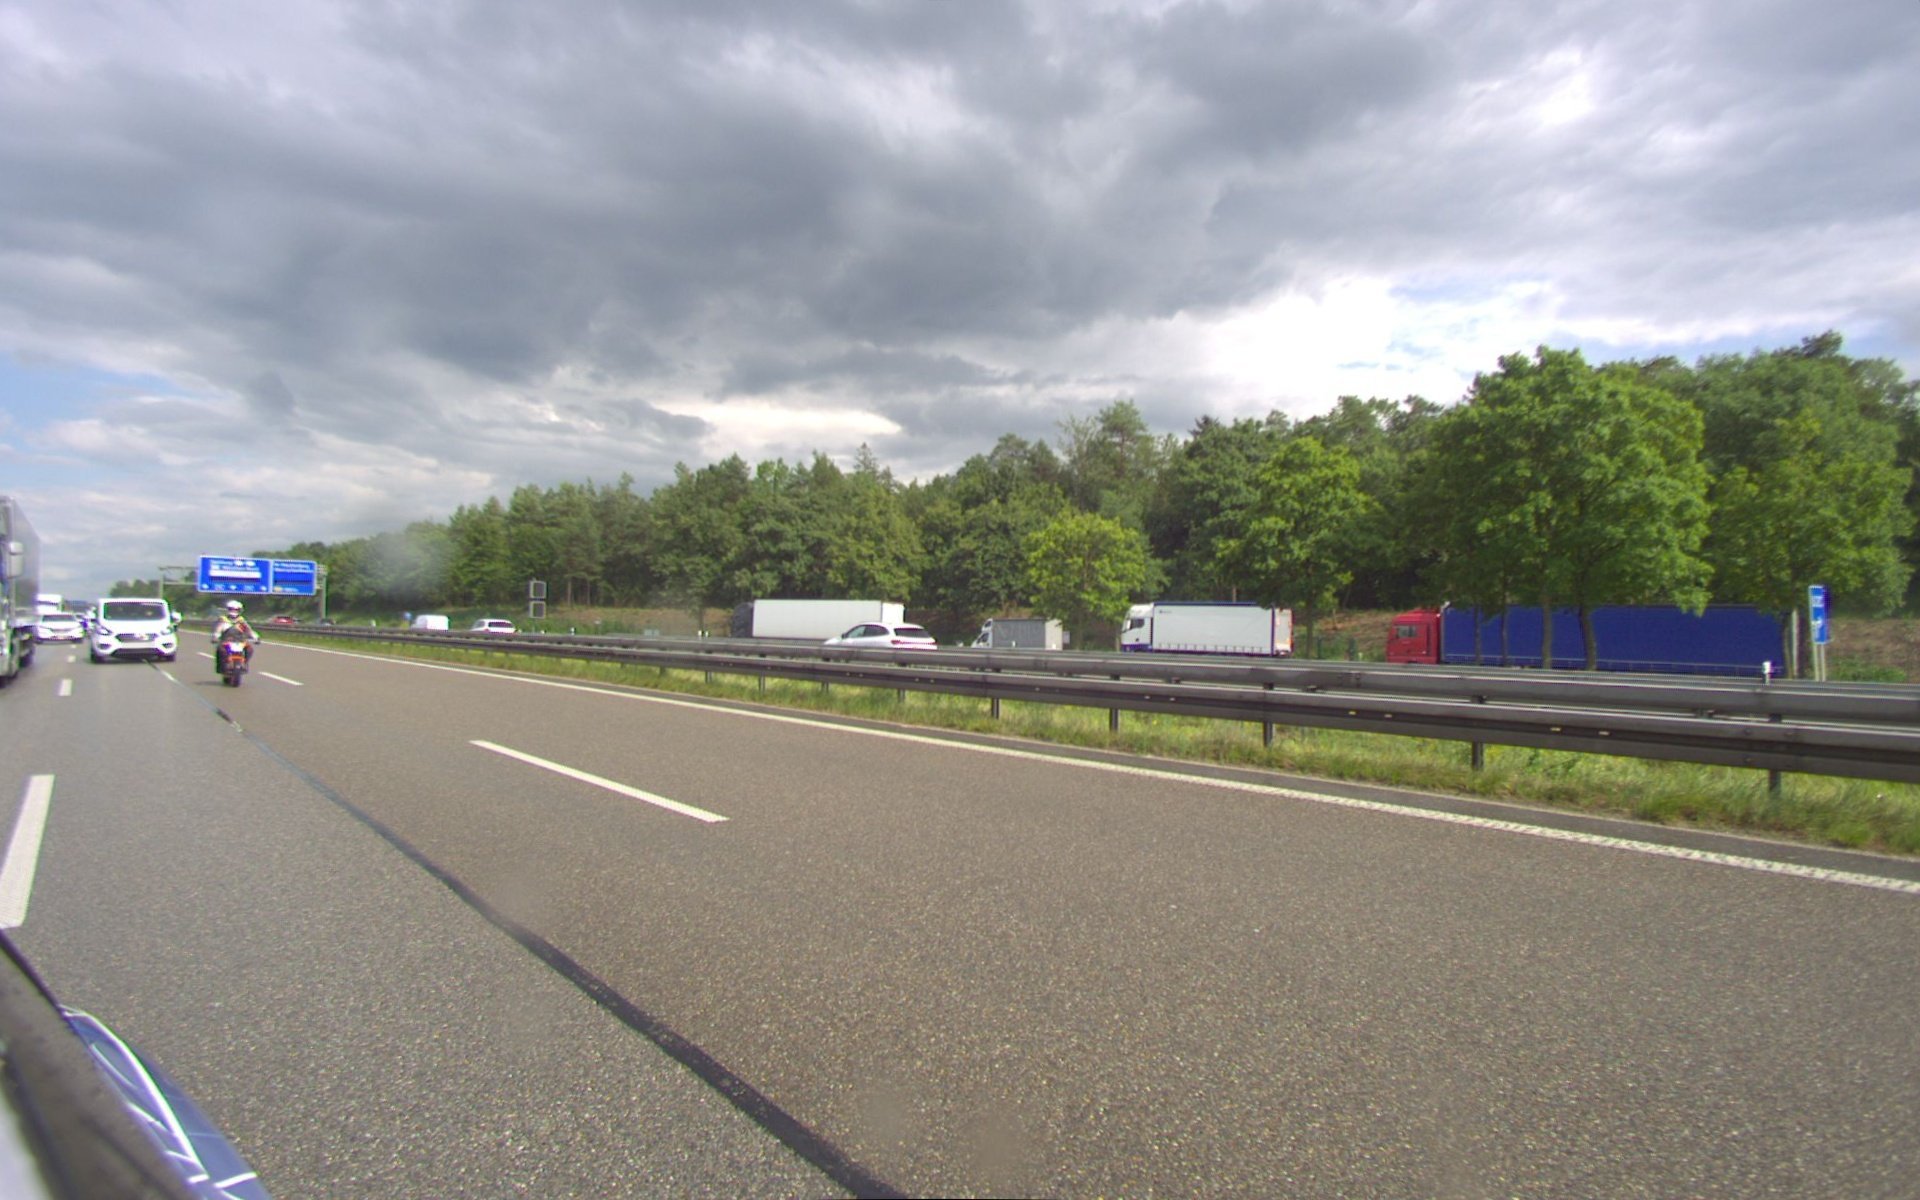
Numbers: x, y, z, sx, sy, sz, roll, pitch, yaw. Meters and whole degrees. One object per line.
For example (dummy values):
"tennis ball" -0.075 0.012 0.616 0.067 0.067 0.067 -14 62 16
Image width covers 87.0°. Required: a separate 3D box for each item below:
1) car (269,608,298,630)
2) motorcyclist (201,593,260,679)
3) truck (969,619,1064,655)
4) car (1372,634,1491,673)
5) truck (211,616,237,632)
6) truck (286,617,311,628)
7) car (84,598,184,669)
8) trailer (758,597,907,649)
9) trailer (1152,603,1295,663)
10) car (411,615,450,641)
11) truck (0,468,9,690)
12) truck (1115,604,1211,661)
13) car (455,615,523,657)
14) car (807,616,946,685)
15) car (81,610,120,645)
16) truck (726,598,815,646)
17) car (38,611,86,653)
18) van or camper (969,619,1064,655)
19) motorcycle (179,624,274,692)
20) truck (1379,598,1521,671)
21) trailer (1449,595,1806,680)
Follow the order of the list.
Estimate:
"car" -65.448 1.814 97.875 1.808 2.060 4.786 0 0 -41
"motorcyclist" -15.057 0.726 20.895 0.870 1.719 1.002 0 0 -43
"truck" 3.765 2.443 68.588 6.306 2.282 2.099 0 -1 36
"car" 27.876 3.116 59.959 6.129 2.029 1.973 0 0 41
"truck" -91.482 2.921 125.764 2.229 1.909 5.454 0 0 -41
"truck" -73.853 2.504 112.955 1.865 1.203 4.006 0 0 -41
"car" -26.274 0.979 32.124 2.315 2.060 5.151 0 0 -41
"trailer" -9.981 1.724 78.029 12.542 3.767 3.176 0 -2 36
"trailer" 15.311 1.865 59.173 7.734 3.257 2.553 0 -2 40
"car" -43.474 2.255 83.051 1.808 2.060 4.786 0 0 -41
"truck" -21.845 -0.391 21.285 2.612 4.306 6.891 0 0 -44
"truck" 12.323 1.892 61.533 5.081 3.292 2.628 0 0 39
"car" -23.376 1.735 50.114 1.808 1.905 4.786 0 0 -41
"car" -2.672 1.473 31.216 1.808 1.905 4.786 0 0 -41
"car" -54.090 1.678 63.684 1.808 2.060 4.786 0 0 -41
"truck" -15.355 1.733 81.817 6.901 3.733 3.180 0 0 35
"car" -47.116 1.631 53.169 1.808 2.060 4.786 0 0 -41
"van or camper" 3.758 2.442 68.513 6.311 2.282 2.099 0 -1 36
"motorcycle" -15.169 1.147 20.877 1.171 1.235 3.197 0 0 -44
"truck" 24.744 1.663 51.238 5.896 3.482 2.830 0 0 42
"trailer" 29.980 1.594 46.429 13.424 3.431 2.792 -1 -2 42
